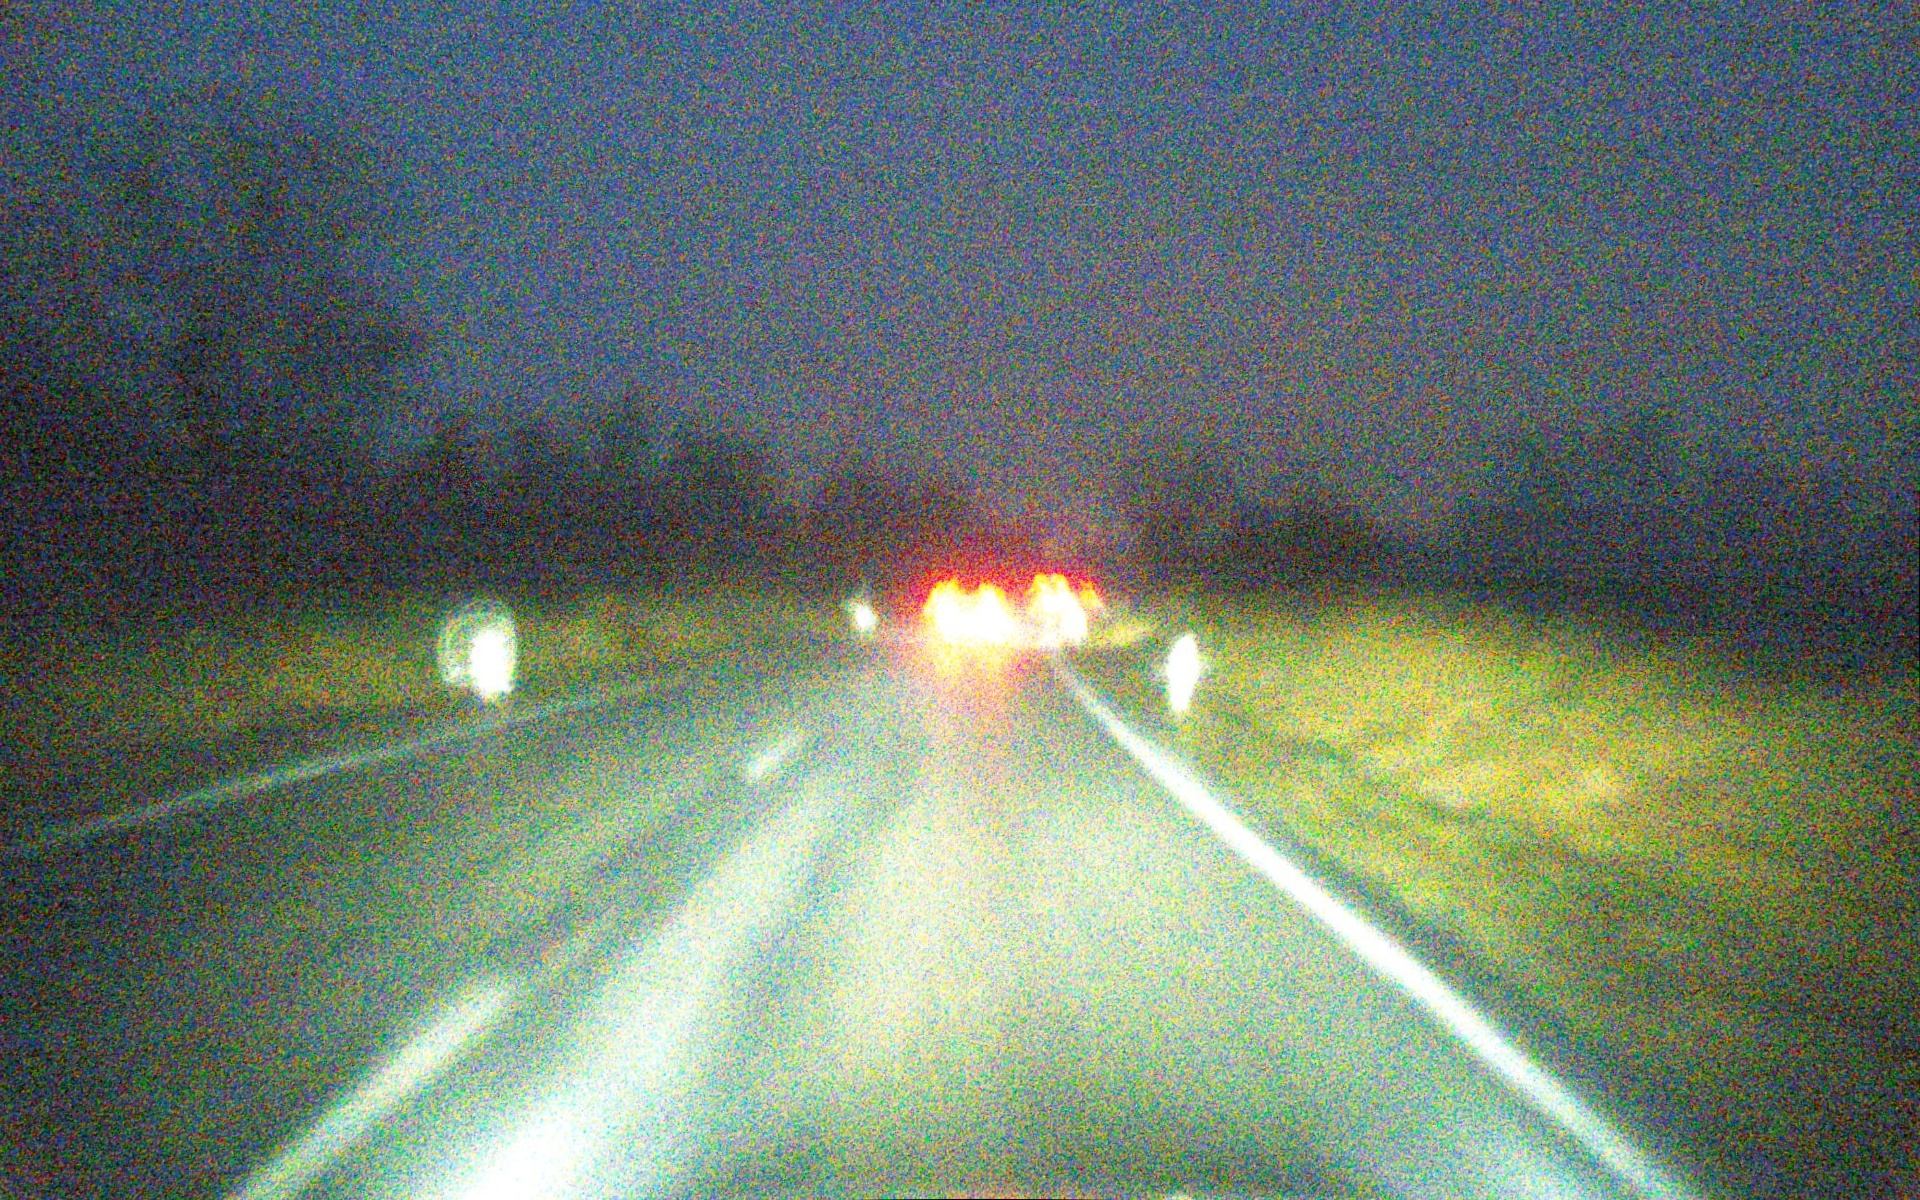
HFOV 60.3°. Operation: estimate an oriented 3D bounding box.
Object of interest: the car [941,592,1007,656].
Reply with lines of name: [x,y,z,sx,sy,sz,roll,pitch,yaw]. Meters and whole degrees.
car: [0.389,0.661,47.724,1.805,1.771,4.000,1,0,0]
